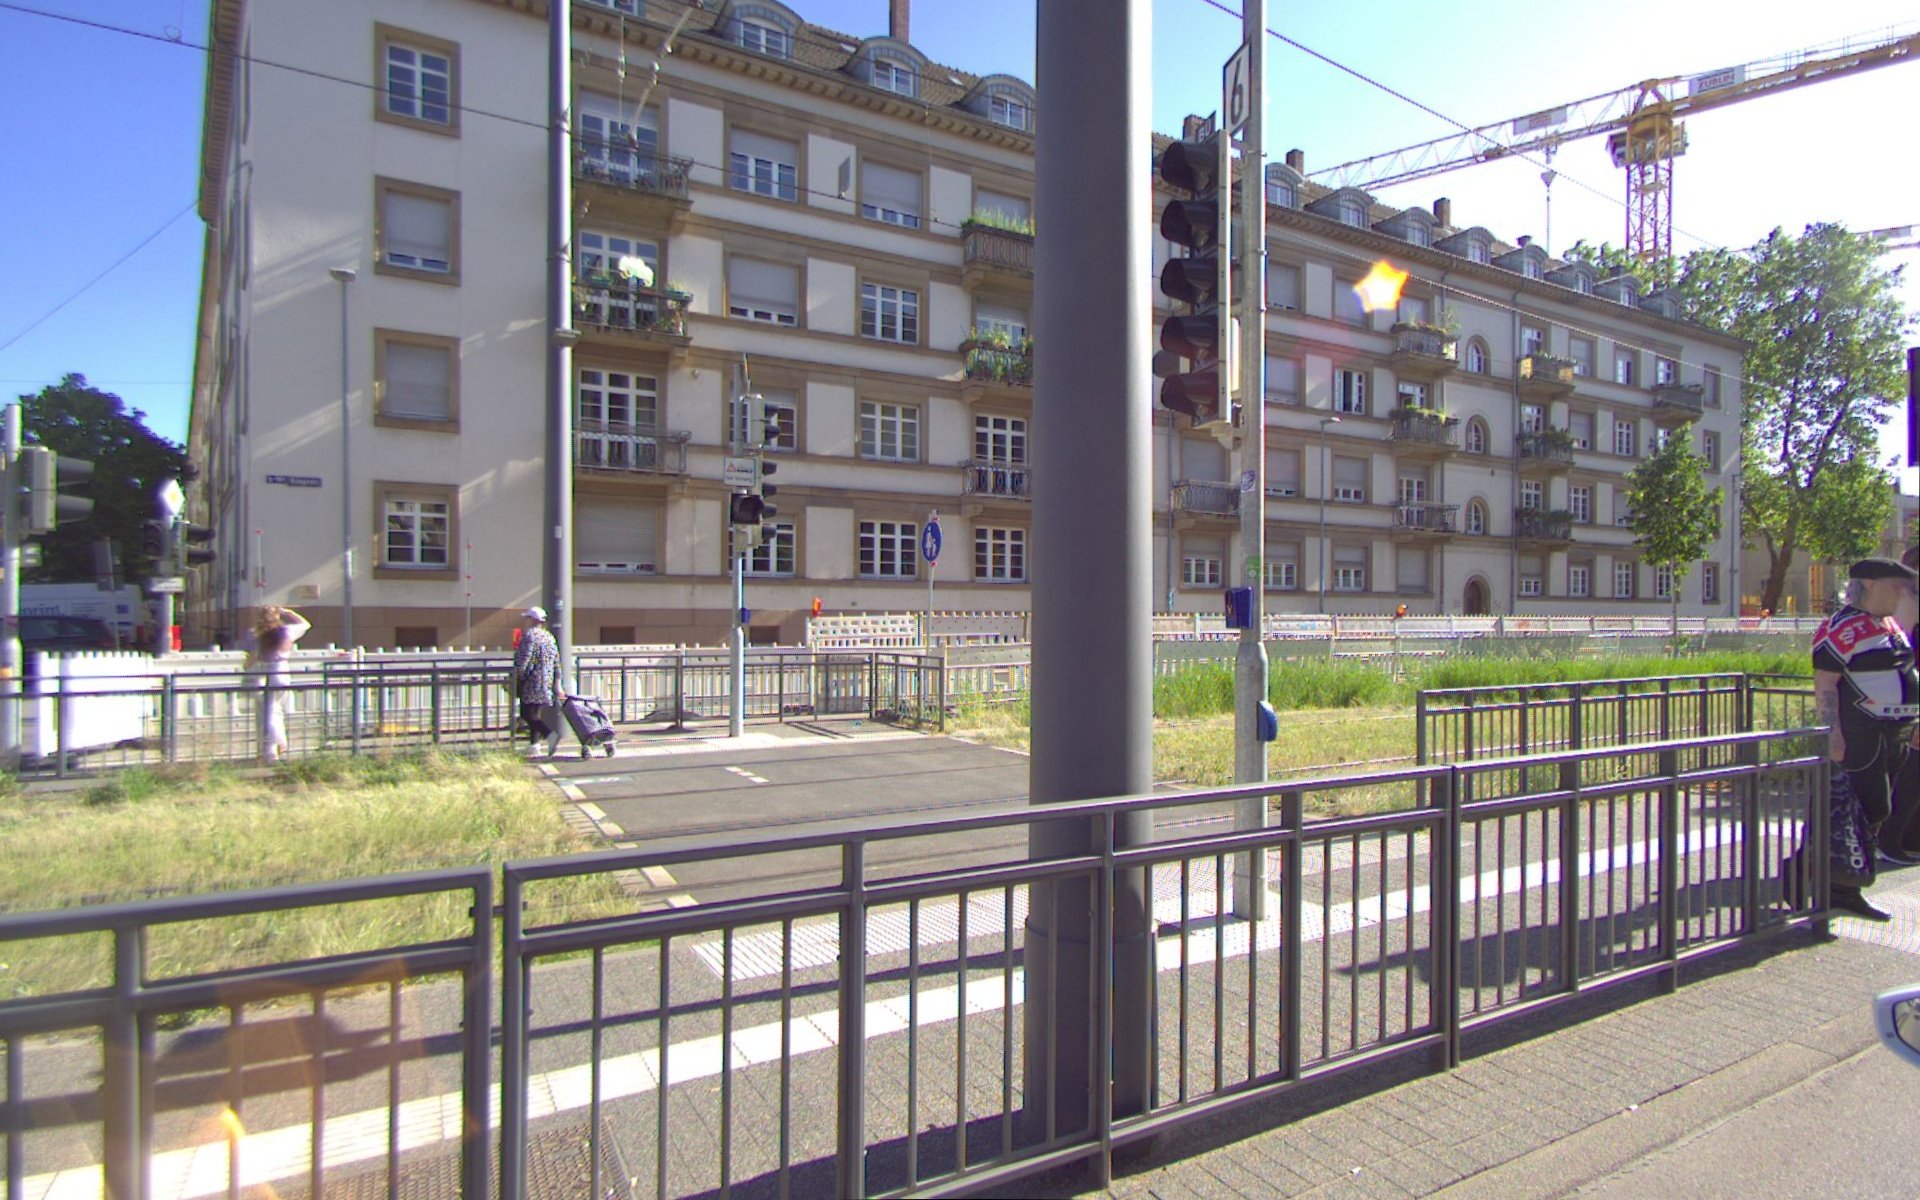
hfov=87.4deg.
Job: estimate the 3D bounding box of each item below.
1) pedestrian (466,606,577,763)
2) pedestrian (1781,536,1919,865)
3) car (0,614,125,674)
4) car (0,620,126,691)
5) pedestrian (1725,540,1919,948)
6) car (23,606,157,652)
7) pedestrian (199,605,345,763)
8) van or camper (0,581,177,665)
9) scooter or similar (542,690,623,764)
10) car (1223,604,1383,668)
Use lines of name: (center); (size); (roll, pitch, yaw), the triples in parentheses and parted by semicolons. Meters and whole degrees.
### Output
pedestrian: (-4.622, 0.853, 10.599); (0.803, 1.557, 0.794); (1, 0, 40)
pedestrian: (5.842, 0.596, 6.205); (0.647, 1.934, 1.068); (1, -1, -36)
car: (-24.735, 1.146, 26.864); (3.635, 1.542, 1.672); (1, -1, -39)
car: (-21.258, 1.220, 22.725); (3.642, 1.542, 1.672); (1, -1, -39)
pedestrian: (4.494, 0.643, 4.983); (0.961, 1.812, 0.859); (1, 0, -36)
car: (-35.319, 1.148, 40.908); (3.962, 1.799, 1.724); (1, -1, -37)
pedestrian: (-7.151, 0.833, 10.480); (0.850, 1.557, 0.910); (1, 0, 8)
van or camper: (-27.580, 0.687, 30.496); (5.910, 2.433, 1.976); (1, -1, -42)
scooter or similar: (-3.948, 1.312, 10.494); (0.698, 0.660, 0.513); (1, 0, 40)
car: (8.908, 0.903, 26.052); (3.953, 1.536, 1.808); (1, -1, -30)
